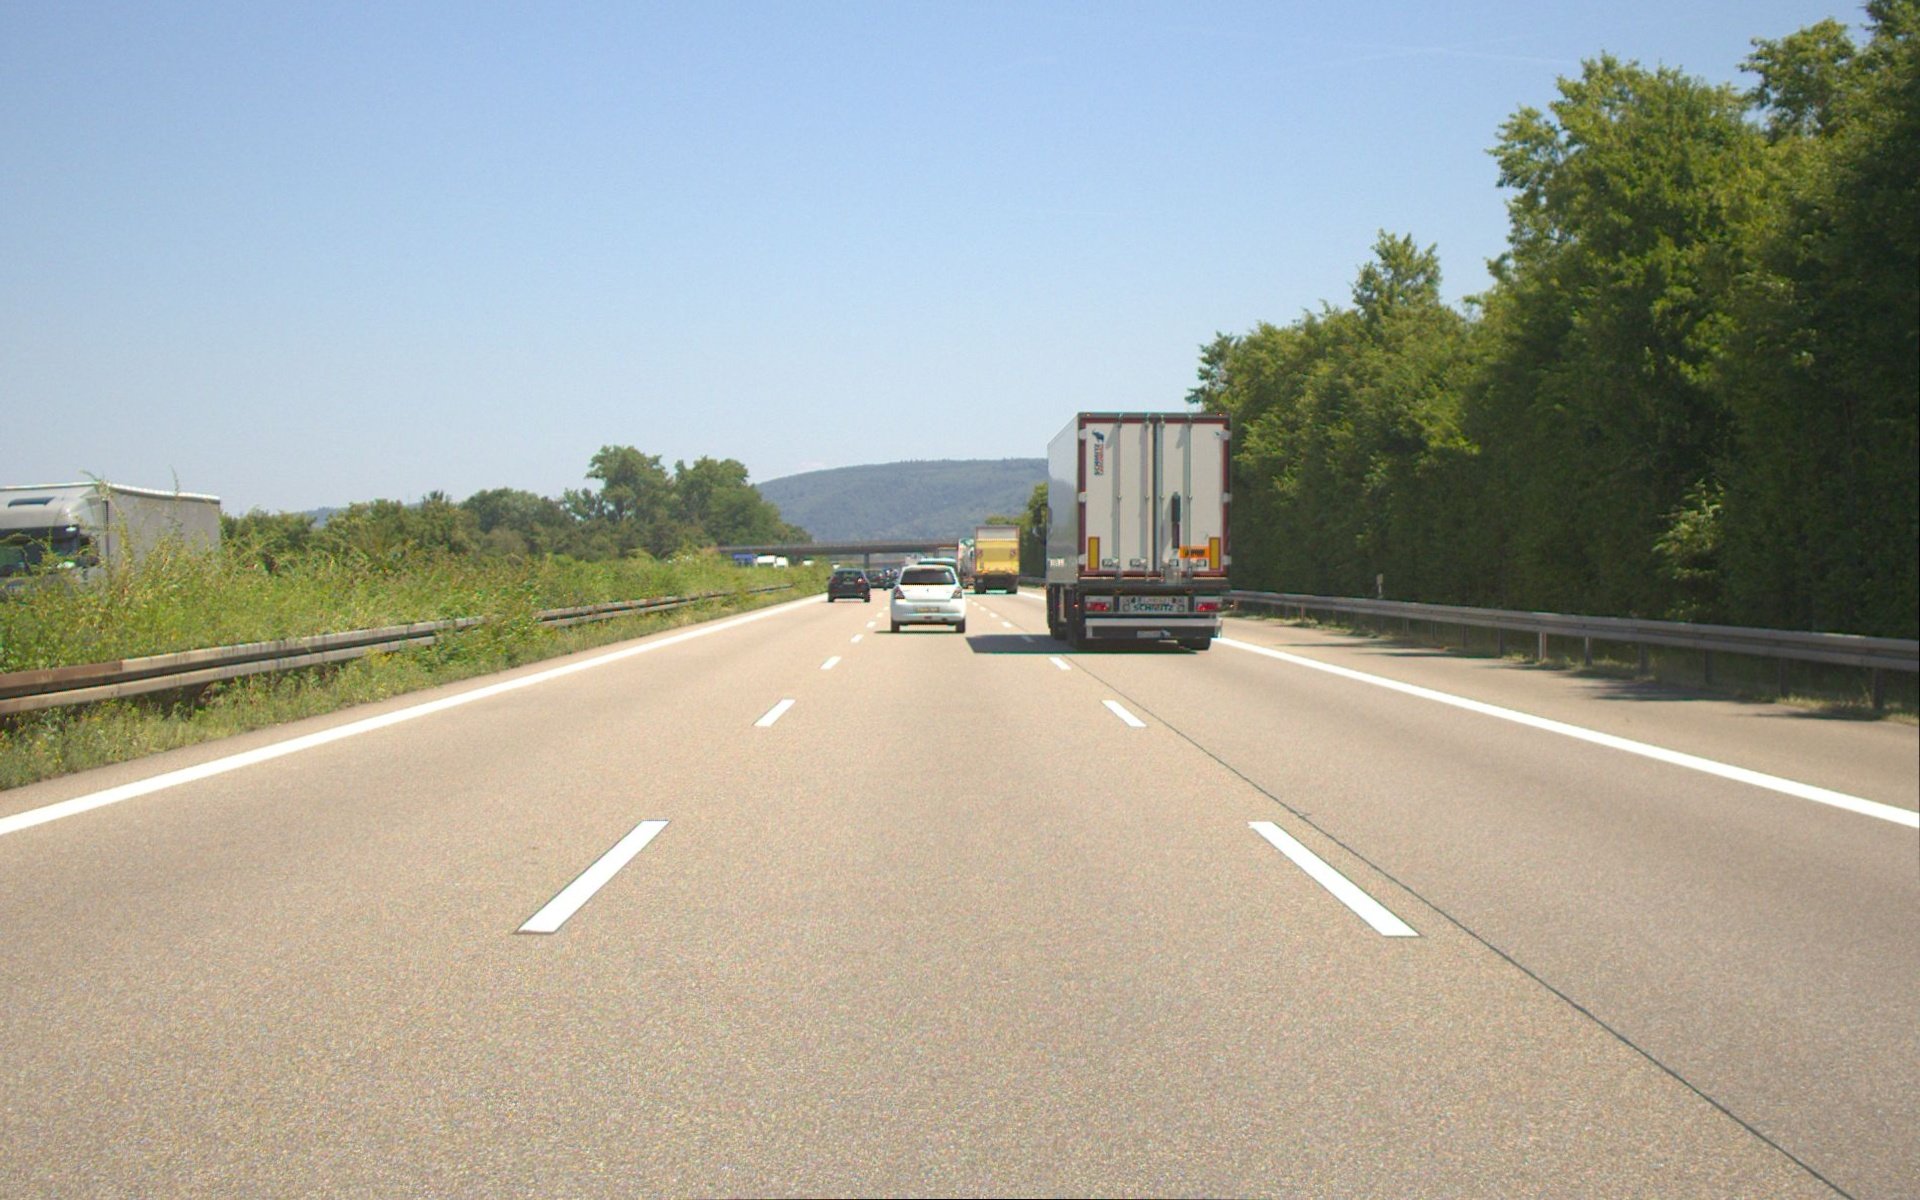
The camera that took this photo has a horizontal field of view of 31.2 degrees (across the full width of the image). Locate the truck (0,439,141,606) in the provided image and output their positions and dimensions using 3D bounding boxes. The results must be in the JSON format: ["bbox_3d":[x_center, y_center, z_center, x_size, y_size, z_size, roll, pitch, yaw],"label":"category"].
[{"bbox_3d":[-21.237,-1.774,79.354,3.349,3.686,6.065,1,1,-2],"label":"truck"}]

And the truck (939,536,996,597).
[{"bbox_3d":[0.535,-2.567,266.449,4.271,4.636,13.860,0,0,0],"label":"truck"}]

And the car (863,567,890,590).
[{"bbox_3d":[-5.717,-1.490,235.873,1.795,1.545,4.000,0,0,0],"label":"car"}]

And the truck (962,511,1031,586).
[{"bbox_3d":[2.157,-3.110,207.513,3.871,4.330,13.861,1,1,0],"label":"truck"}]

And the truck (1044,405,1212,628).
[{"bbox_3d":[3.386,-1.691,70.909,3.218,4.330,6.590,1,1,1],"label":"truck"}]

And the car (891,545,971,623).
[{"bbox_3d":[-0.667,-0.384,77.716,1.732,1.678,4.000,-1,1,-1],"label":"car"}]

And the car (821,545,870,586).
[{"bbox_3d":[-4.891,-1.471,147.135,1.993,1.706,4.000,1,1,-1],"label":"car"}]

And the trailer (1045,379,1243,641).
[{"bbox_3d":[3.244,-1.598,64.281,3.218,4.330,13.629,1,1,1],"label":"trailer"}]
